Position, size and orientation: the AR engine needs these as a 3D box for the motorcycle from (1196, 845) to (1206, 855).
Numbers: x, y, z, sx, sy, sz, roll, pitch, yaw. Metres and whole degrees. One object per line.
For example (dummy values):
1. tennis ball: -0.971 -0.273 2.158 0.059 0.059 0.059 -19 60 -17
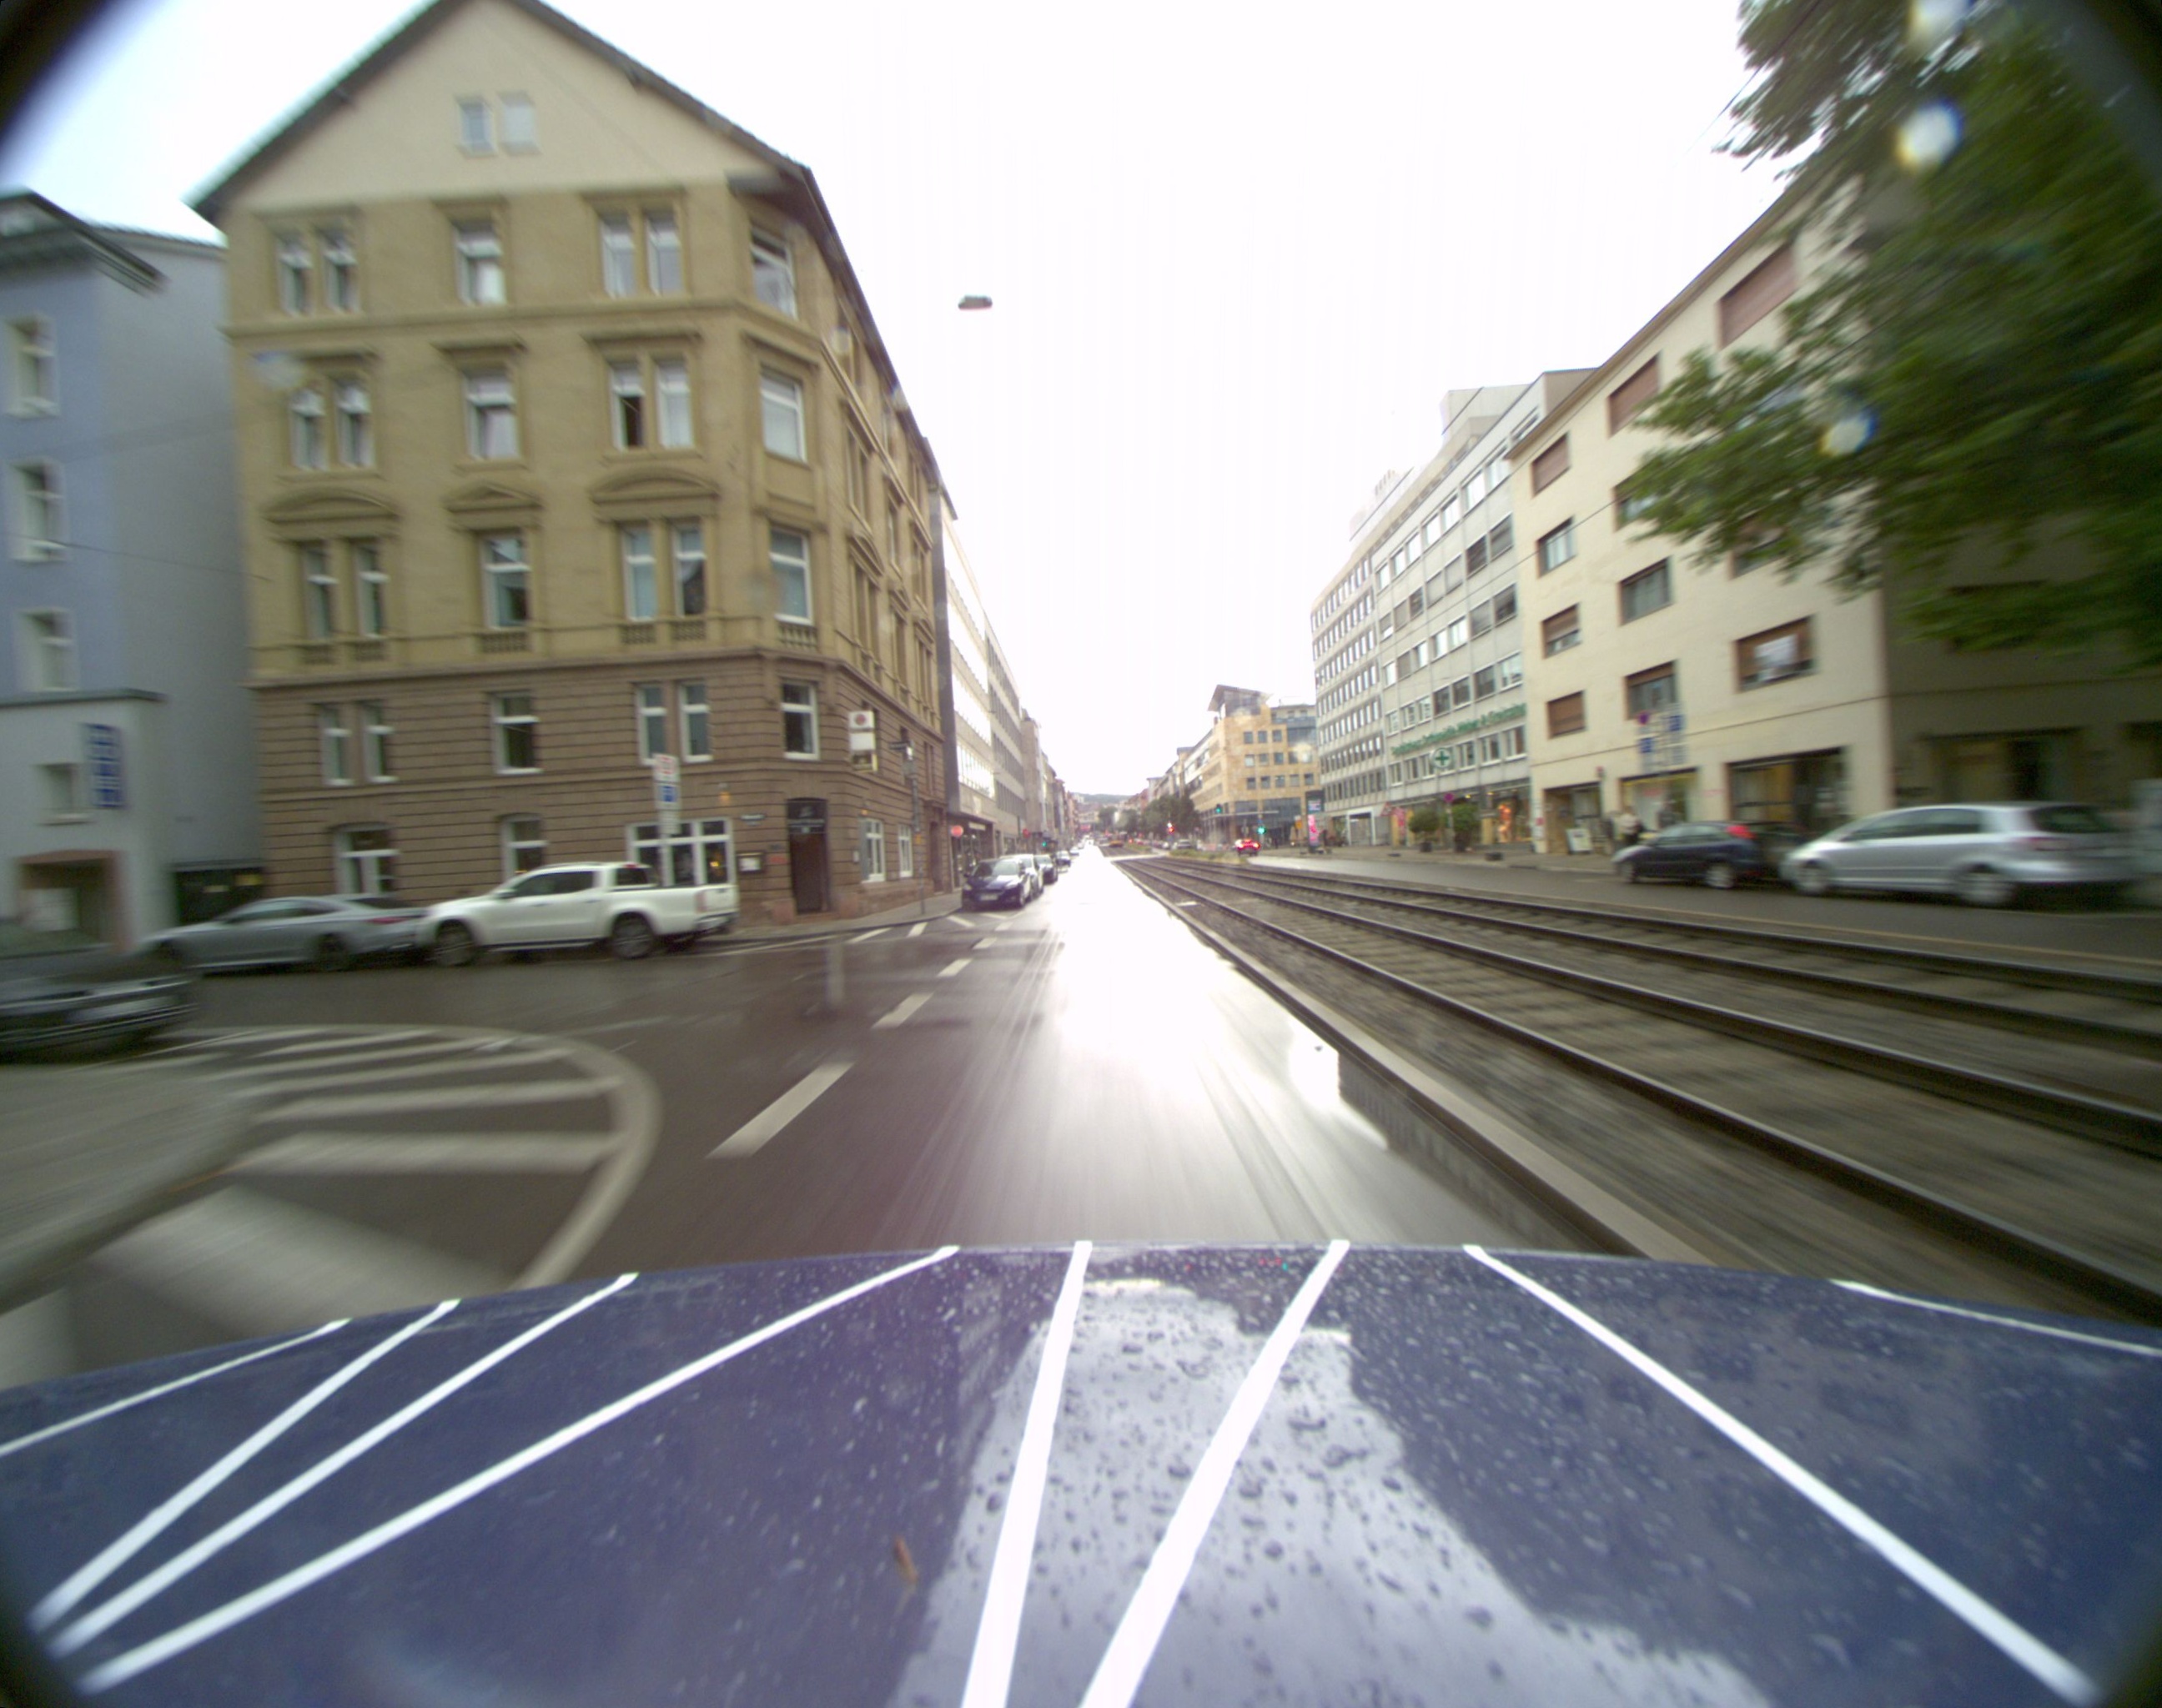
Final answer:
1. motorcycle: 12.891 -0.458 81.772 0.744 1.053 1.931 -4 1 3

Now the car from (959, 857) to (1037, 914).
1. car: -2.472 0.913 23.733 1.724 1.507 4.259 -4 0 2

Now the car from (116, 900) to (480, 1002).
1. car: -14.518 1.761 14.336 4.571 1.399 2.094 -3 0 -1

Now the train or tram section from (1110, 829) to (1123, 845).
1. train or tram section: 10.010 -4.888 214.708 2.909 4.028 18.763 -3 2 1

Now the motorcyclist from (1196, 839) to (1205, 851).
1. motorcyclist: 12.855 -0.973 81.803 0.743 1.210 0.970 -4 1 3

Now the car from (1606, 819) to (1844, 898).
1. car: 14.076 0.074 16.997 1.748 1.460 4.219 -3 1 1

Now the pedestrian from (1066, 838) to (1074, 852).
1. pedestrian: -1.282 -1.063 88.402 0.662 1.573 0.778 -4 1 -21

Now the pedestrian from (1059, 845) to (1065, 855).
1. pedestrian: -3.259 -0.699 131.562 0.793 1.650 0.721 -5 2 1

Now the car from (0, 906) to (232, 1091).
1. car: -10.971 1.361 7.161 3.996 1.422 1.787 -3 0 3

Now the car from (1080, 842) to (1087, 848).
1. car: 0.594 -2.447 199.381 1.653 1.489 4.067 -3 1 2

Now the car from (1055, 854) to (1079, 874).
1. car: -1.277 0.872 70.351 1.998 1.585 4.270 -3 1 2

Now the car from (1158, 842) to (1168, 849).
1. car: 17.787 -1.840 164.431 1.653 1.532 4.621 -3 1 2

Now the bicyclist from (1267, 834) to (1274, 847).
1. bicyclist: 26.494 -1.832 106.238 0.710 1.794 0.784 -4 1 1

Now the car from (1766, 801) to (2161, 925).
1. car: 13.864 0.101 12.292 1.726 1.561 4.219 -4 0 1

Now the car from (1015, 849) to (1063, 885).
1. car: -2.090 0.604 39.148 1.998 1.585 4.571 -3 1 2

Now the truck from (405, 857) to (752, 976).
1. truck: -9.278 1.101 14.426 5.072 1.807 2.083 -3 0 -2

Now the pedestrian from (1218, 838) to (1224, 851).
1. pedestrian: 21.375 -1.438 115.926 0.703 1.804 0.679 -4 1 4

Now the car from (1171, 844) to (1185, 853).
1. car: 16.827 -0.903 132.025 1.693 1.477 4.255 -4 0 0

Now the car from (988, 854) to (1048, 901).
1. car: -2.284 0.814 28.598 1.750 1.514 4.355 -4 0 1

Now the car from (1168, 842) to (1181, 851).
1. car: 17.453 -1.366 142.058 1.693 1.477 4.000 -4 0 0

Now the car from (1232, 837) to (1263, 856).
1. car: 15.178 -0.678 69.385 1.998 1.510 4.445 -4 0 4

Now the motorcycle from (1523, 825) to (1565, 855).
1. motorcycle: 19.601 -0.587 32.148 1.480 1.173 0.386 -4 1 0

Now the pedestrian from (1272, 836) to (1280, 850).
1. pedestrian: 24.724 -1.369 96.278 0.677 1.771 0.705 -3 1 36

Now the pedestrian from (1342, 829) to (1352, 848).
1. pedestrian: 27.005 -1.565 77.039 0.566 1.812 0.844 -4 1 -3

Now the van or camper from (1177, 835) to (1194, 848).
1. van or camper: 16.914 -2.097 123.676 2.022 1.986 5.196 -4 2 1

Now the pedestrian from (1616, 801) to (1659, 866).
1. pedestrian: 16.733 -0.610 22.855 0.680 1.885 0.742 -4 1 1

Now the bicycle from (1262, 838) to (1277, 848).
1. bicycle: 26.374 -1.583 106.272 1.768 1.303 0.660 -4 1 0

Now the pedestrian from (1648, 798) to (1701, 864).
1. pedestrian: 17.657 -0.686 22.639 0.729 1.885 0.983 -4 1 1
